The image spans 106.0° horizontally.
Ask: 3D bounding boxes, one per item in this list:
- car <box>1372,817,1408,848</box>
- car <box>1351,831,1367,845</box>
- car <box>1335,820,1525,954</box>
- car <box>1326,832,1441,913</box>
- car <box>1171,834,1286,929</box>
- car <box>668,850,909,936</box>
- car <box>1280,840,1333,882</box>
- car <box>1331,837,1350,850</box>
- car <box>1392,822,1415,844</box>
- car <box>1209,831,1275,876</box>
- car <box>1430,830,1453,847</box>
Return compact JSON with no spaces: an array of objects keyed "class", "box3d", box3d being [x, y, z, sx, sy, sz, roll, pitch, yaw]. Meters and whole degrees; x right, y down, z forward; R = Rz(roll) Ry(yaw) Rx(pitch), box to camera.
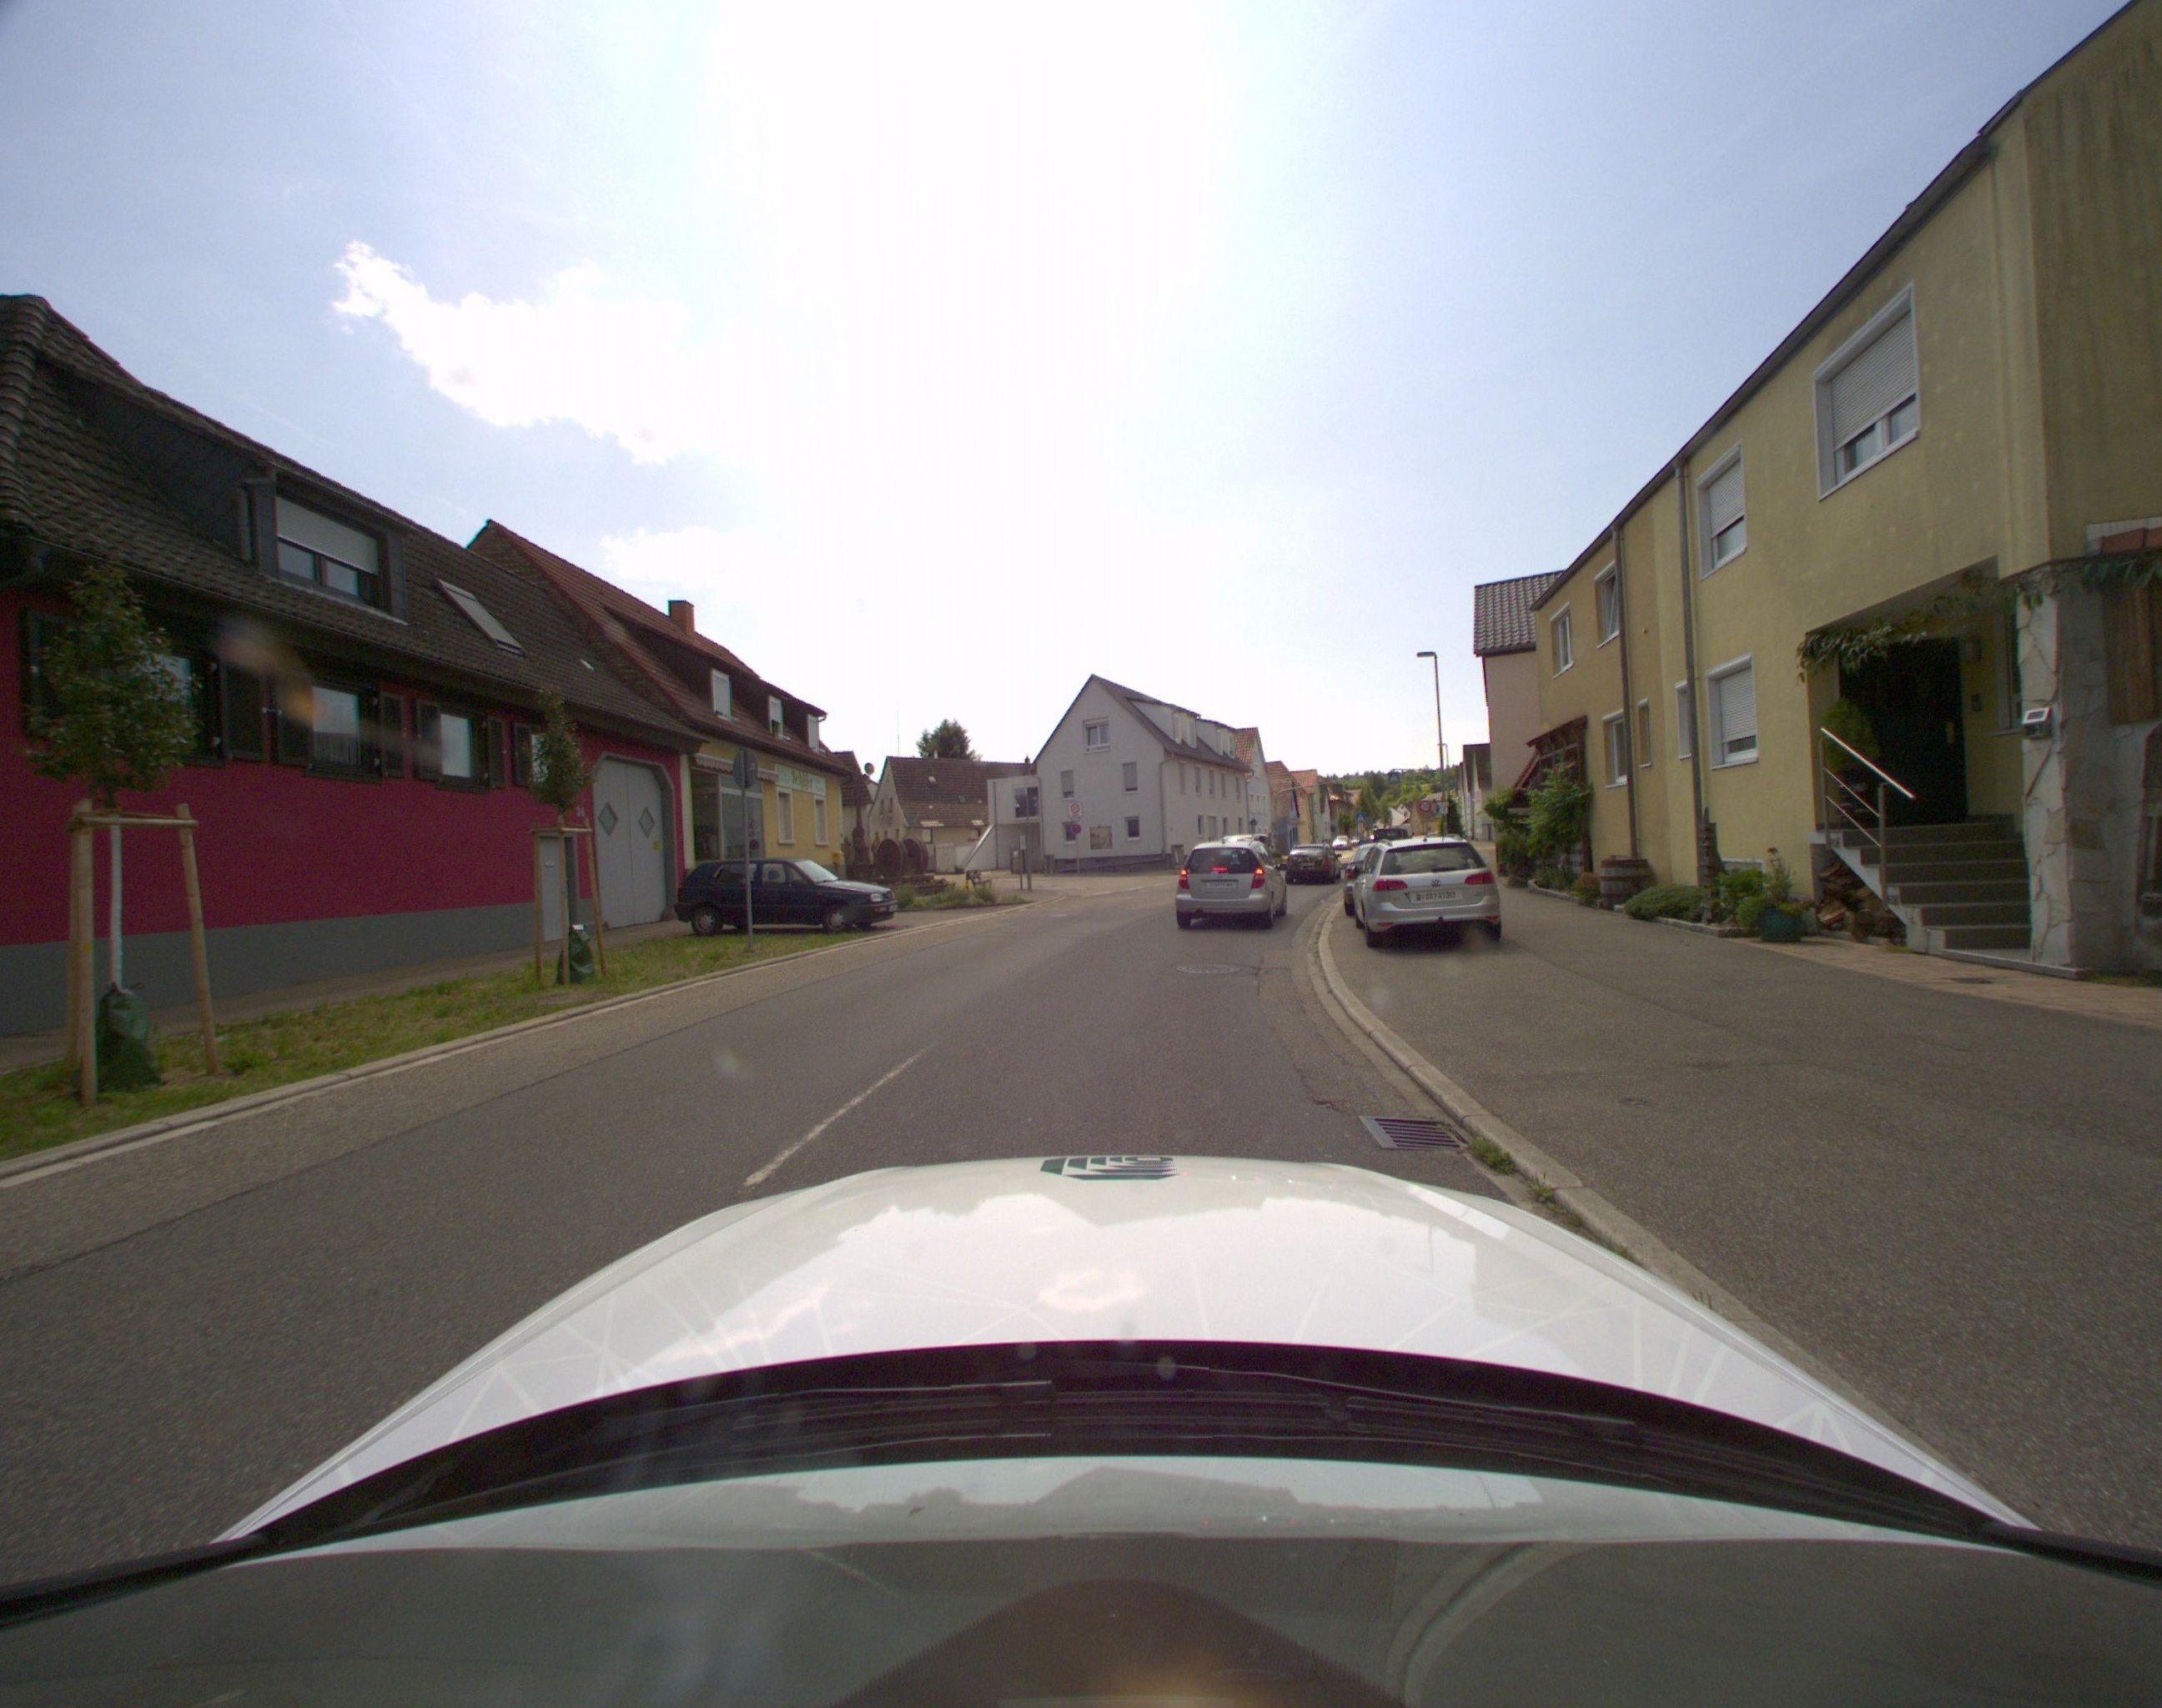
[{"class":"car","box3d":[20.210,-1.334,53.174,1.976,1.816,4.022,-2,-1,23]},{"class":"car","box3d":[36.277,-2.051,106.306,1.652,1.596,4.022,-2,-1,24]},{"class":"car","box3d":[4.997,0.410,12.298,1.871,1.530,4.352,-5,-1,14]},{"class":"car","box3d":[6.334,0.387,17.497,1.757,1.400,4.441,-5,-2,14]},{"class":"car","box3d":[3.031,0.468,16.162,1.796,1.643,3.746,-1,0,17]},{"class":"car","box3d":[-5.509,0.705,15.681,3.954,1.464,1.721,-1,0,0]},{"class":"car","box3d":[8.268,0.269,29.861,1.737,1.416,4.016,-2,-1,16]},{"class":"car","box3d":[29.494,-1.206,92.503,1.977,1.321,3.726,-2,-1,18]},{"class":"car","box3d":[32.719,-2.059,82.618,1.976,2.014,4.022,-2,-1,23]},{"class":"car","box3d":[7.176,0.030,35.933,1.976,1.800,4.961,-2,-1,21]},{"class":"car","box3d":[34.706,-1.483,78.417,1.976,1.508,4.022,-2,-1,24]}]
